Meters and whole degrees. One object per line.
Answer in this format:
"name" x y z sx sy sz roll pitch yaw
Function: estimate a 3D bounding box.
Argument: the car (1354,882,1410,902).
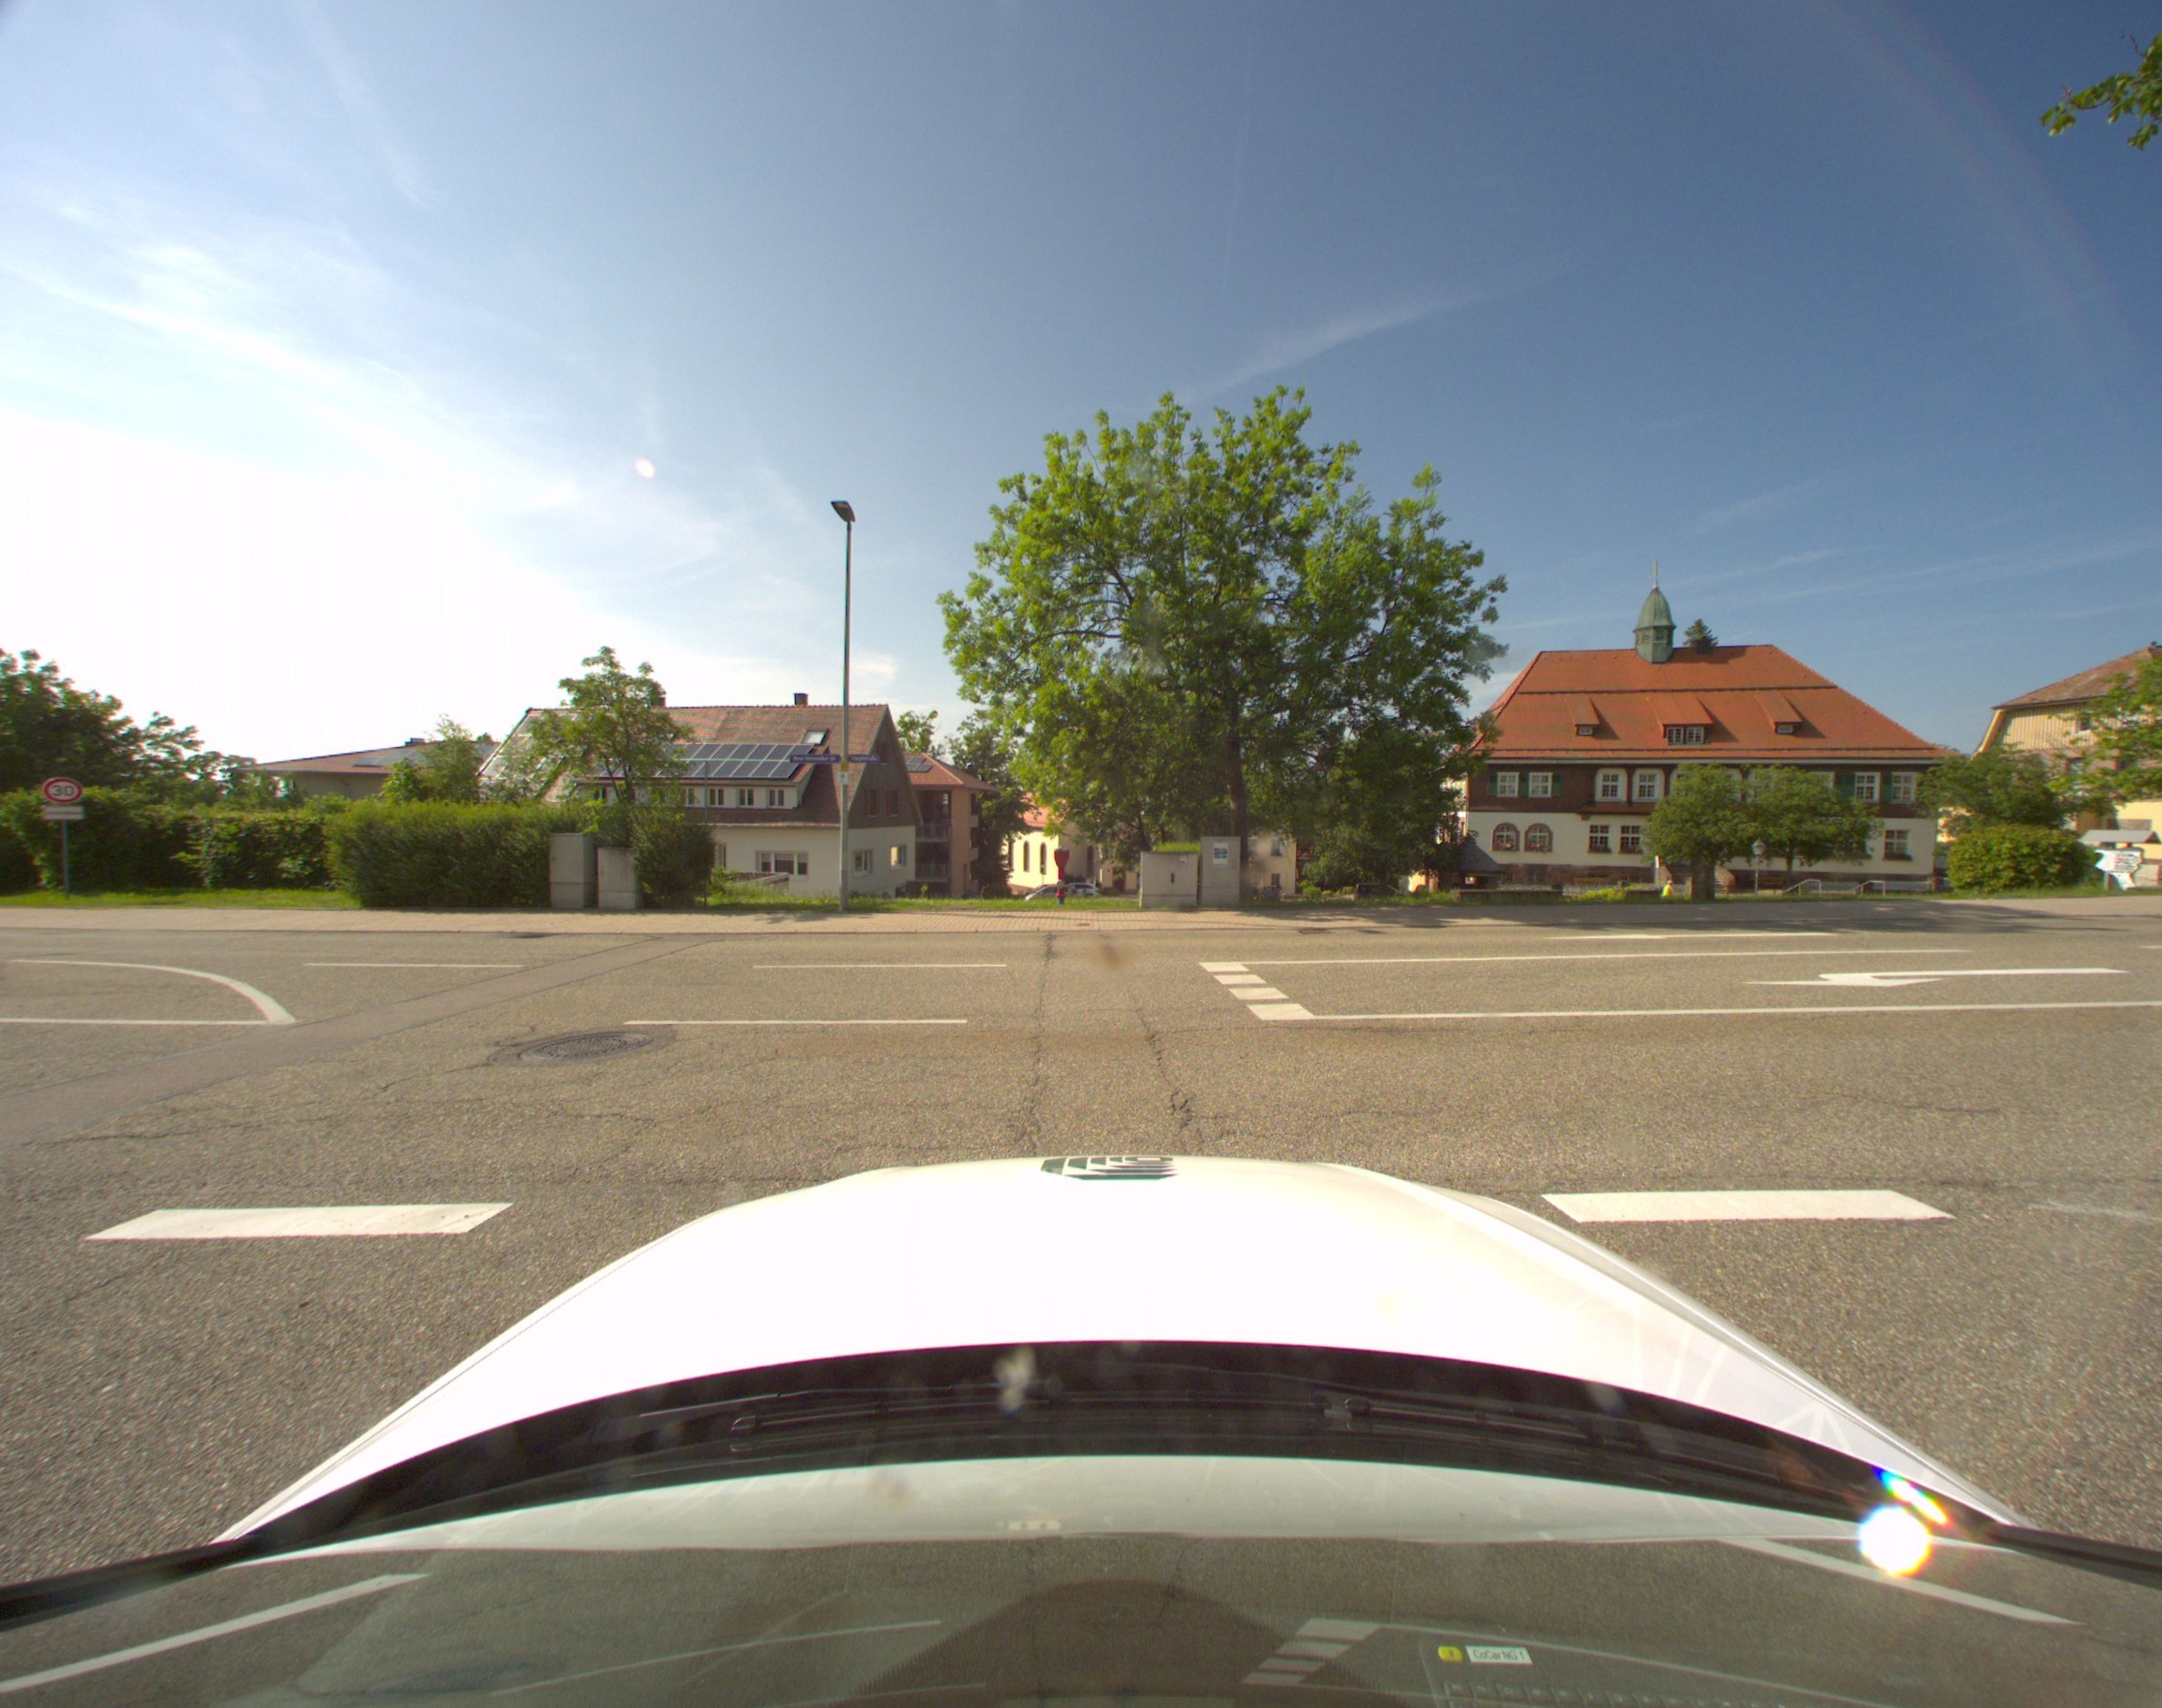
"car" 22.552 2.831 61.081 3.746 1.444 1.720 -1 -1 14

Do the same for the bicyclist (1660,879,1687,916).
"bicyclist" 31.724 2.322 43.607 0.987 1.925 0.584 -1 -1 16

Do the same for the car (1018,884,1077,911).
"car" -2.393 3.057 57.820 4.081 1.758 1.711 -1 -1 -3

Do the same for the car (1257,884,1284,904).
"car" 15.736 3.307 67.641 1.699 1.542 3.791 -1 -1 6

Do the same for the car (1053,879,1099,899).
"car" -0.447 2.906 68.630 3.765 1.593 1.711 -1 -1 -4

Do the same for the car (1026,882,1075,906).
"car" -2.390 3.128 63.648 3.765 1.758 1.711 -1 -1 -4
